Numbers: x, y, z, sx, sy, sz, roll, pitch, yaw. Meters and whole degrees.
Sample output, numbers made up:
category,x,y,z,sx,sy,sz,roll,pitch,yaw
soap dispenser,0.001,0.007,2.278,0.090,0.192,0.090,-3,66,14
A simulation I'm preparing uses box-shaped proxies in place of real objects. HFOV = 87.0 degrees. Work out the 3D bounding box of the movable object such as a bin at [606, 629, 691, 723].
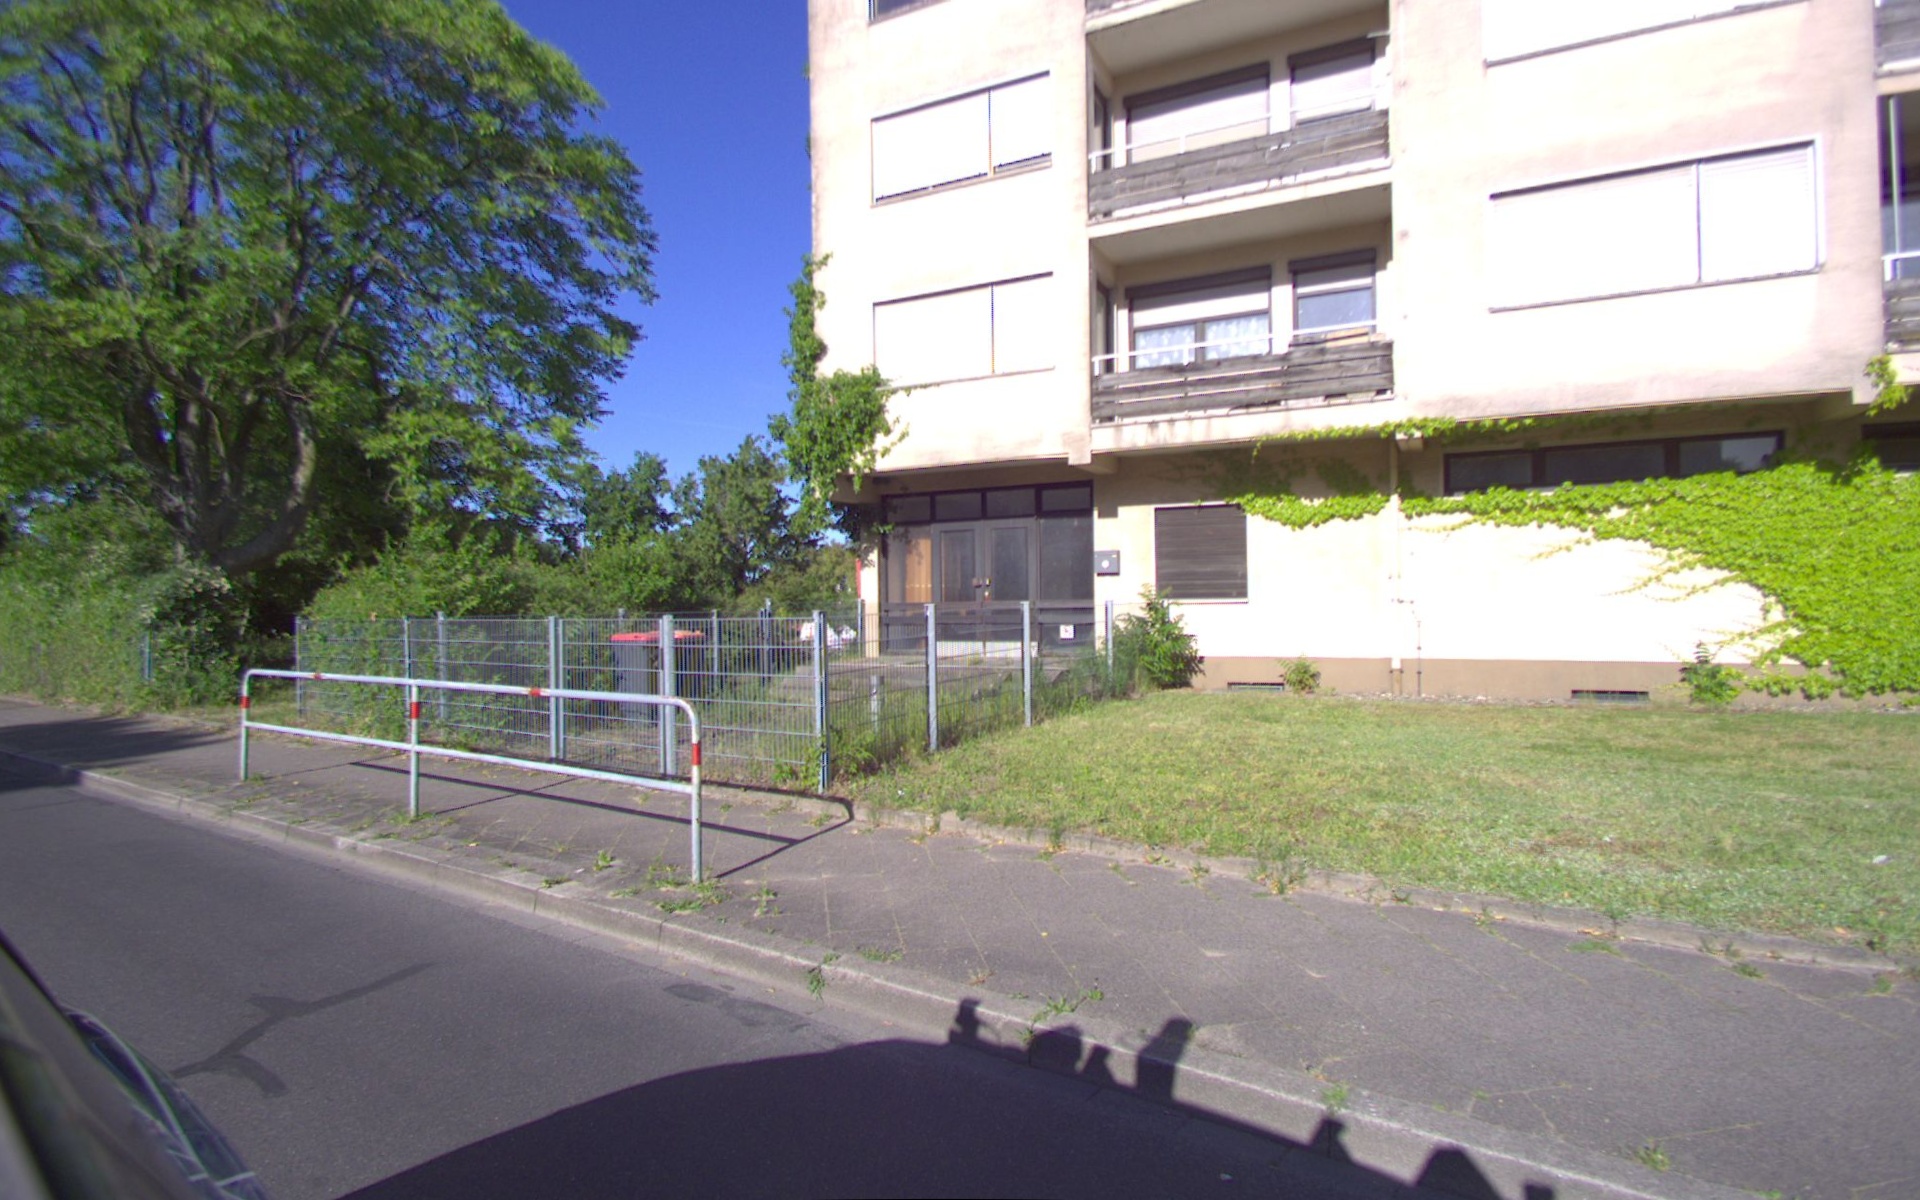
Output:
category,x,y,z,sx,sy,sz,roll,pitch,yaw
movable object such as a bin,-3.583,0.858,11.651,0.708,1.032,0.617,-1,-1,31

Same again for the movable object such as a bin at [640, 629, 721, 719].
category,x,y,z,sx,sy,sz,roll,pitch,yaw
movable object such as a bin,-3.340,0.864,12.104,0.708,1.032,0.617,-1,-1,31
